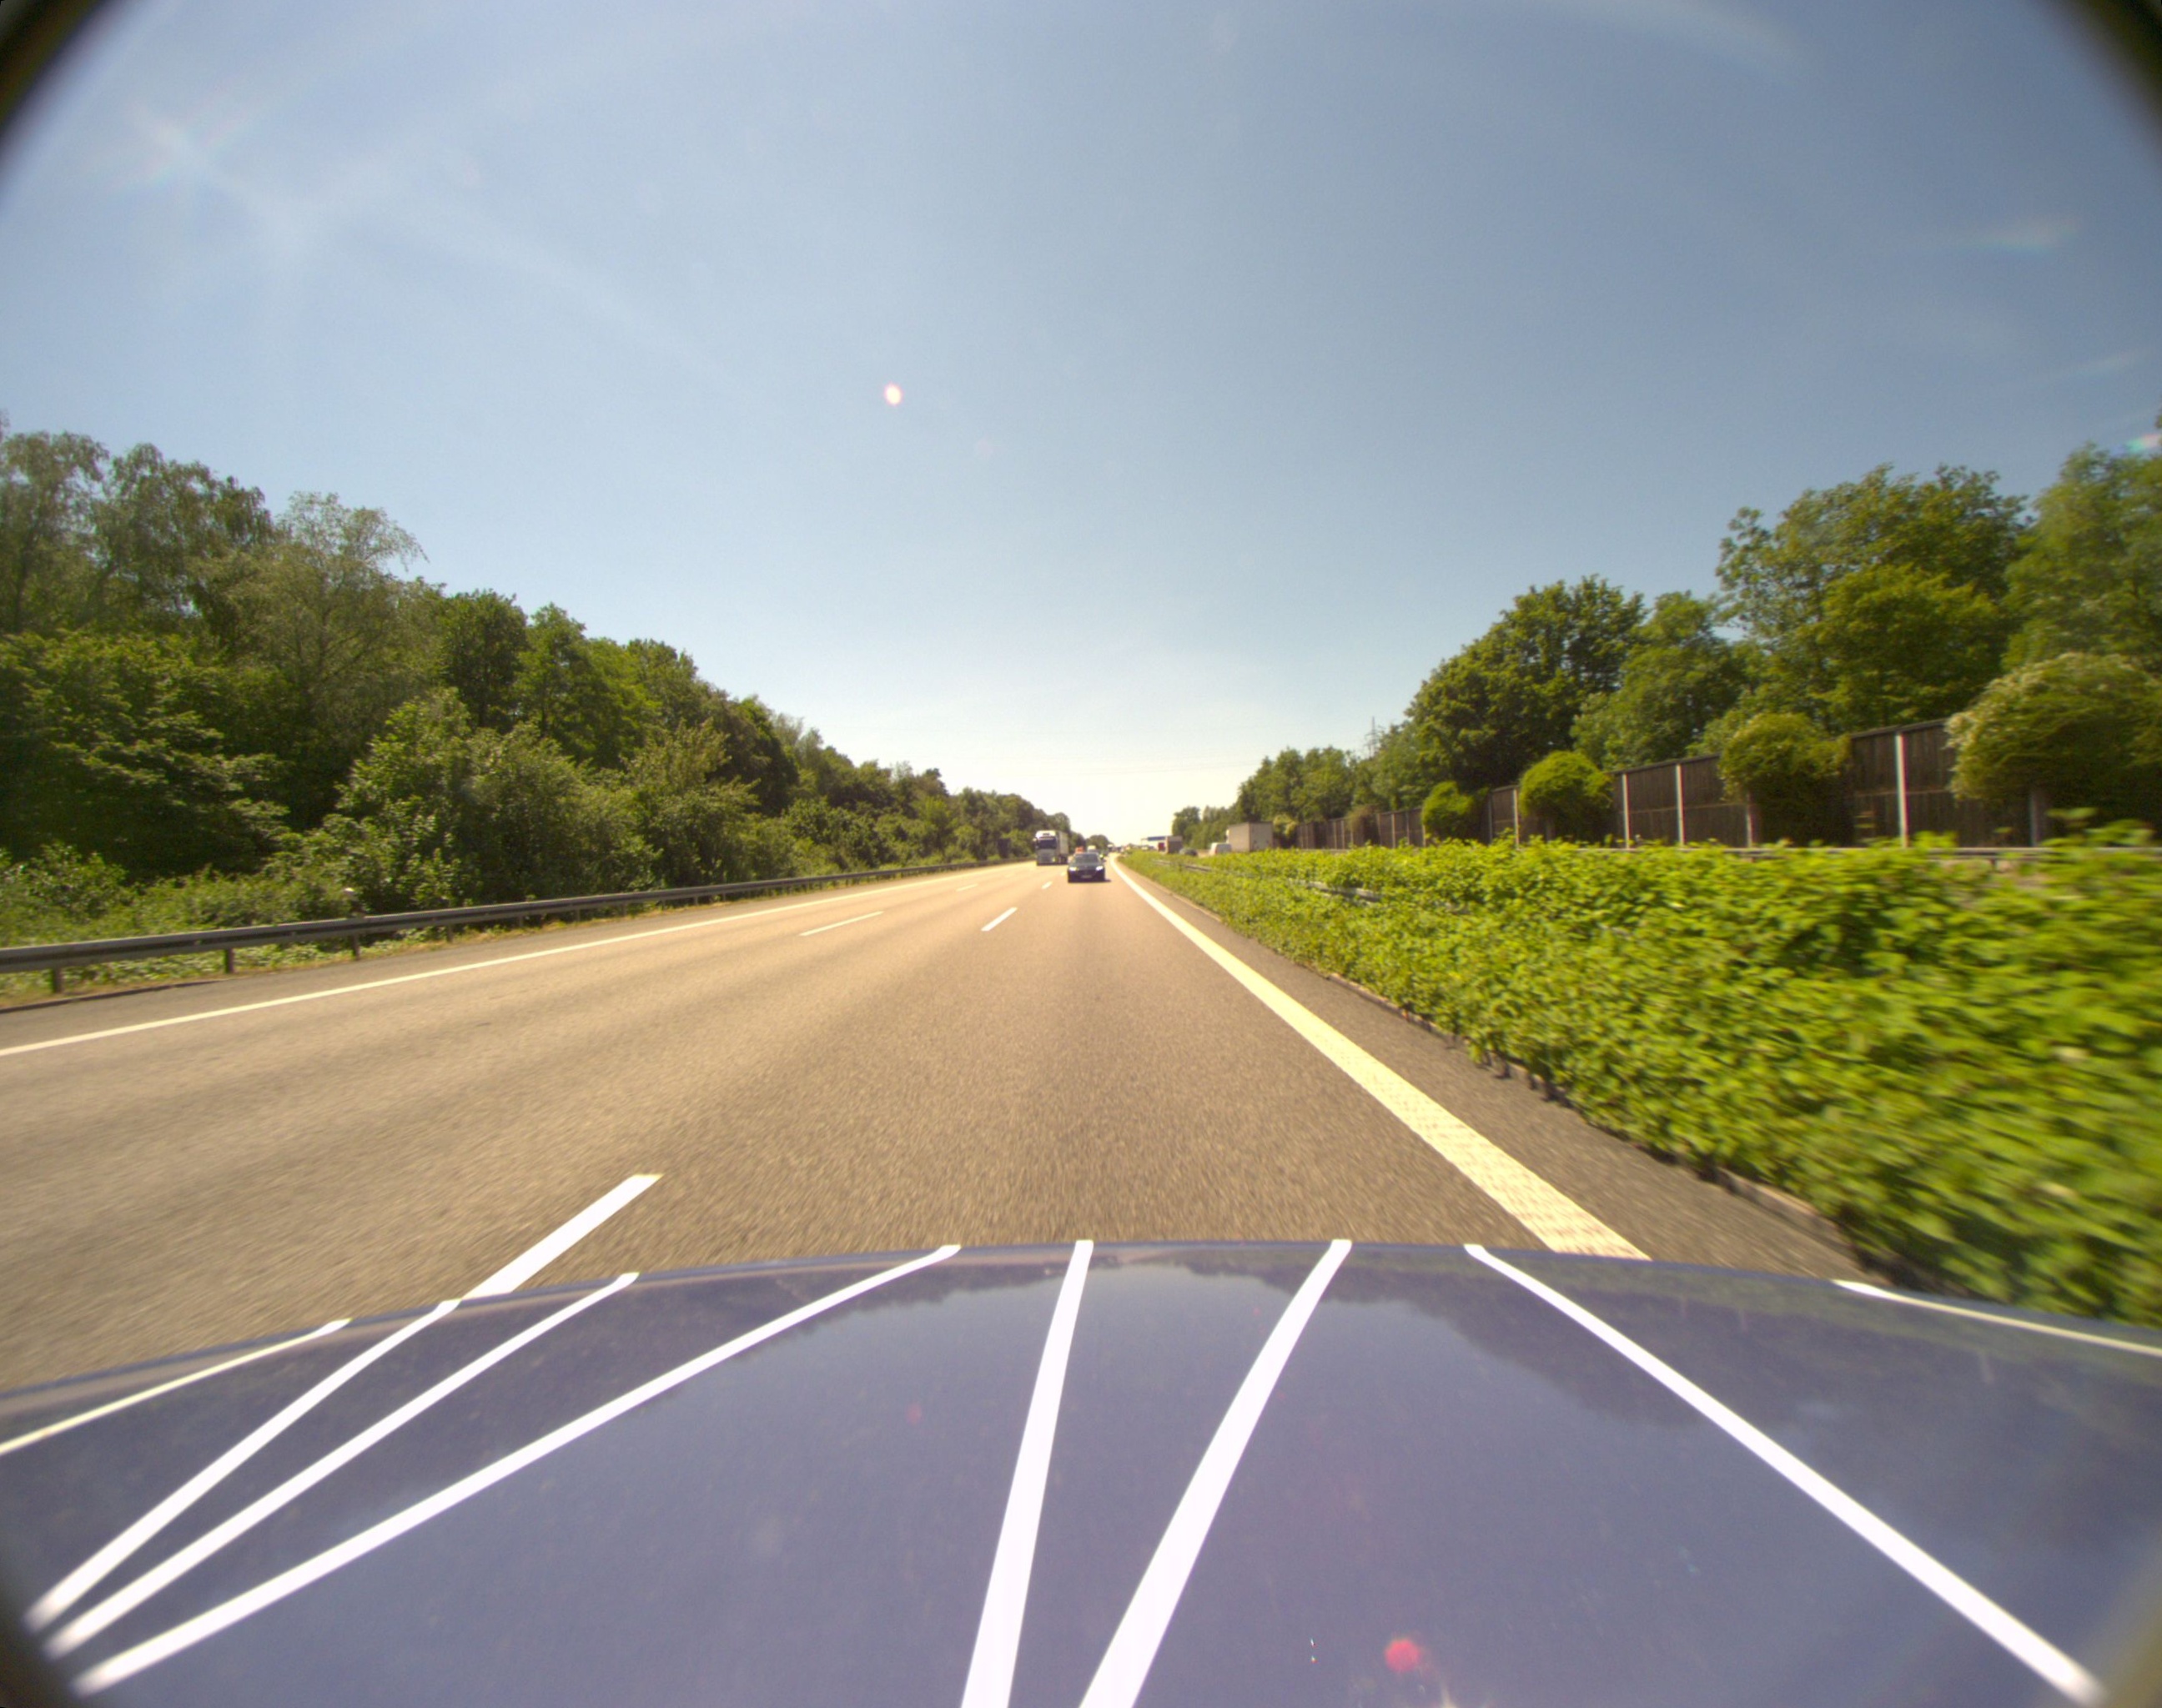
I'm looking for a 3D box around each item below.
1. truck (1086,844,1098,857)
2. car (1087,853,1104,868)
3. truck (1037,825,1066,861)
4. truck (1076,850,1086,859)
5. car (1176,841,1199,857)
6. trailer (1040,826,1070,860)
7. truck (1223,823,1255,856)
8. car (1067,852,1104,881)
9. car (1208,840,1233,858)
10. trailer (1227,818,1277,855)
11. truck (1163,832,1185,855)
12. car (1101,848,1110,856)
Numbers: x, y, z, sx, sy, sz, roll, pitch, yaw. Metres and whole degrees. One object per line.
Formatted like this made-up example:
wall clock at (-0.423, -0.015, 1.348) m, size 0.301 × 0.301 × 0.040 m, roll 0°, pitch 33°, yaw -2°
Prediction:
truck at (2.673, -0.913, 194.210) m, size 2.859 × 3.163 × 10.711 m, roll -2°, pitch 0°, yaw 0°
car at (1.665, 0.719, 85.399) m, size 1.862 × 1.614 × 3.737 m, roll -2°, pitch 0°, yaw 1°
truck at (-3.379, -1.301, 88.975) m, size 2.729 × 3.952 × 6.501 m, roll -2°, pitch 1°, yaw 2°
truck at (0.044, 0.036, 207.641) m, size 2.437 × 2.426 × 10.009 m, roll -2°, pitch 0°, yaw 2°
car at (10.113, -0.486, 72.663) m, size 1.630 × 1.382 × 3.913 m, roll -2°, pitch 1°, yaw 0°
trailer at (-3.131, -1.353, 95.767) m, size 2.746 × 3.952 × 13.655 m, roll -2°, pitch 0°, yaw 2°
truck at (19.559, -1.798, 94.240) m, size 2.693 × 3.872 × 5.573 m, roll -2°, pitch 1°, yaw 1°
car at (0.263, 0.606, 39.536) m, size 1.800 × 1.390 × 4.833 m, roll -2°, pitch 0°, yaw 1°
car at (14.675, -0.550, 80.148) m, size 1.872 × 1.809 × 4.816 m, roll -2°, pitch 1°, yaw 1°
trailer at (19.404, -1.893, 87.210) m, size 2.736 × 3.887 × 13.761 m, roll -2°, pitch 0°, yaw 1°
truck at (13.210, -1.500, 108.655) m, size 2.199 × 3.096 × 8.533 m, roll -2°, pitch 0°, yaw 1°
car at (5.701, -0.505, 174.974) m, size 1.879 × 1.630 × 4.000 m, roll -2°, pitch 0°, yaw 2°
